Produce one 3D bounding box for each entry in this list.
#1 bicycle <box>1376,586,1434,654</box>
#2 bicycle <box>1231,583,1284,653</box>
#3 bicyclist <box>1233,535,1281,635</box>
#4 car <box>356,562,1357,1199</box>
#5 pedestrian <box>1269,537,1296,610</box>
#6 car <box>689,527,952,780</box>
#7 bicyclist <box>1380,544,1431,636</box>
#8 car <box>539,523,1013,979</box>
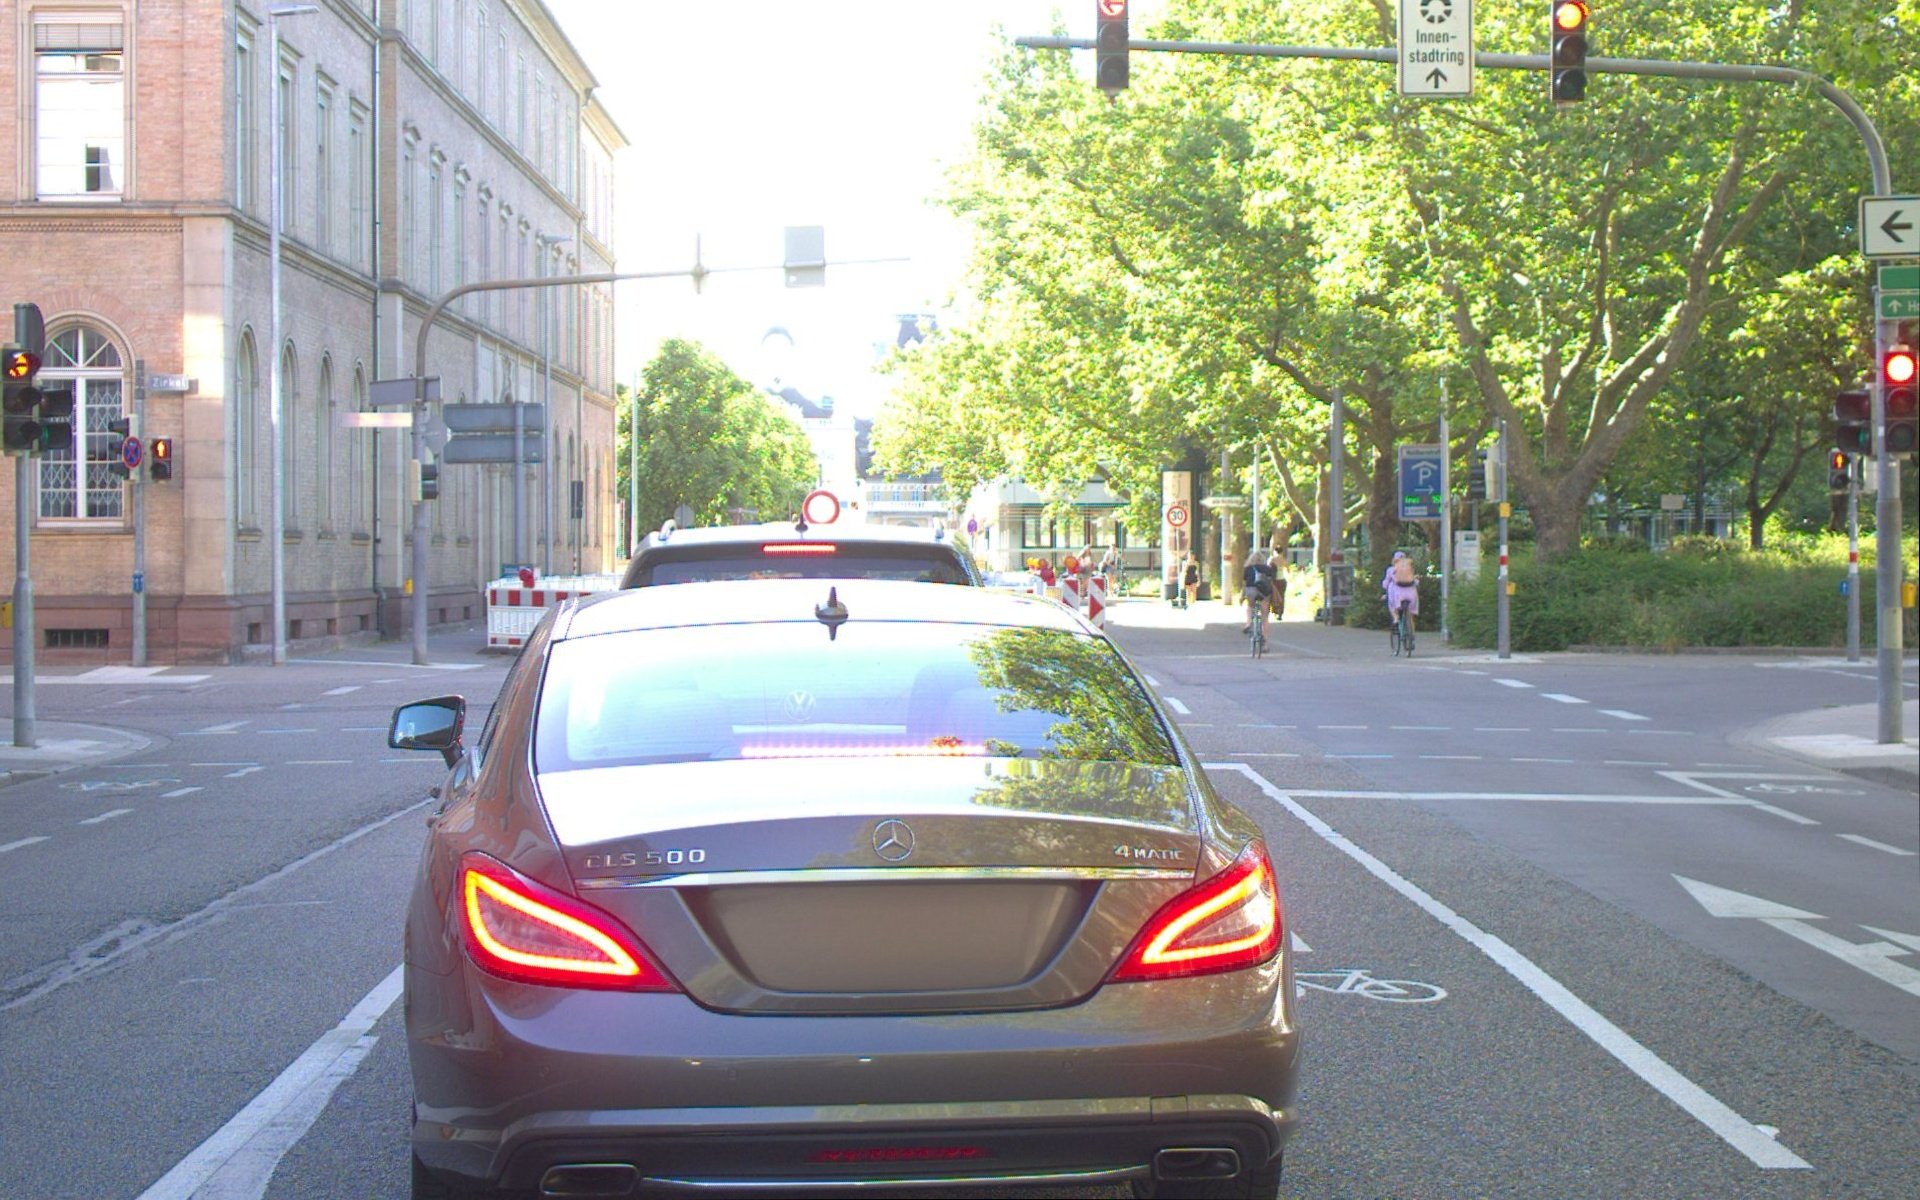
[{"bbox_3d":[6.848,0.301,52.938,0.600,0.981,1.881,2,1,-1],"label":"bicycle"},{"bbox_3d":[4.575,0.270,52.929,0.610,1.023,1.731,2,1,-1],"label":"bicycle"},{"bbox_3d":[4.583,-0.231,53.038,0.610,1.511,0.890,2,1,-1],"label":"bicyclist"},{"bbox_3d":[-0.454,0.649,8.396,1.821,1.471,4.354,0,1,-7],"label":"car"},{"bbox_3d":[7.385,-0.613,78.756,0.559,1.672,0.565,0,1,-1],"label":"pedestrian"},{"bbox_3d":[-0.958,0.318,23.976,1.681,1.619,3.841,0,1,-2],"label":"car"},{"bbox_3d":[6.862,-0.159,52.952,0.600,1.397,0.931,2,1,-1],"label":"bicyclist"},{"bbox_3d":[-0.720,0.510,14.143,1.681,1.619,3.841,0,1,-2],"label":"car"}]
